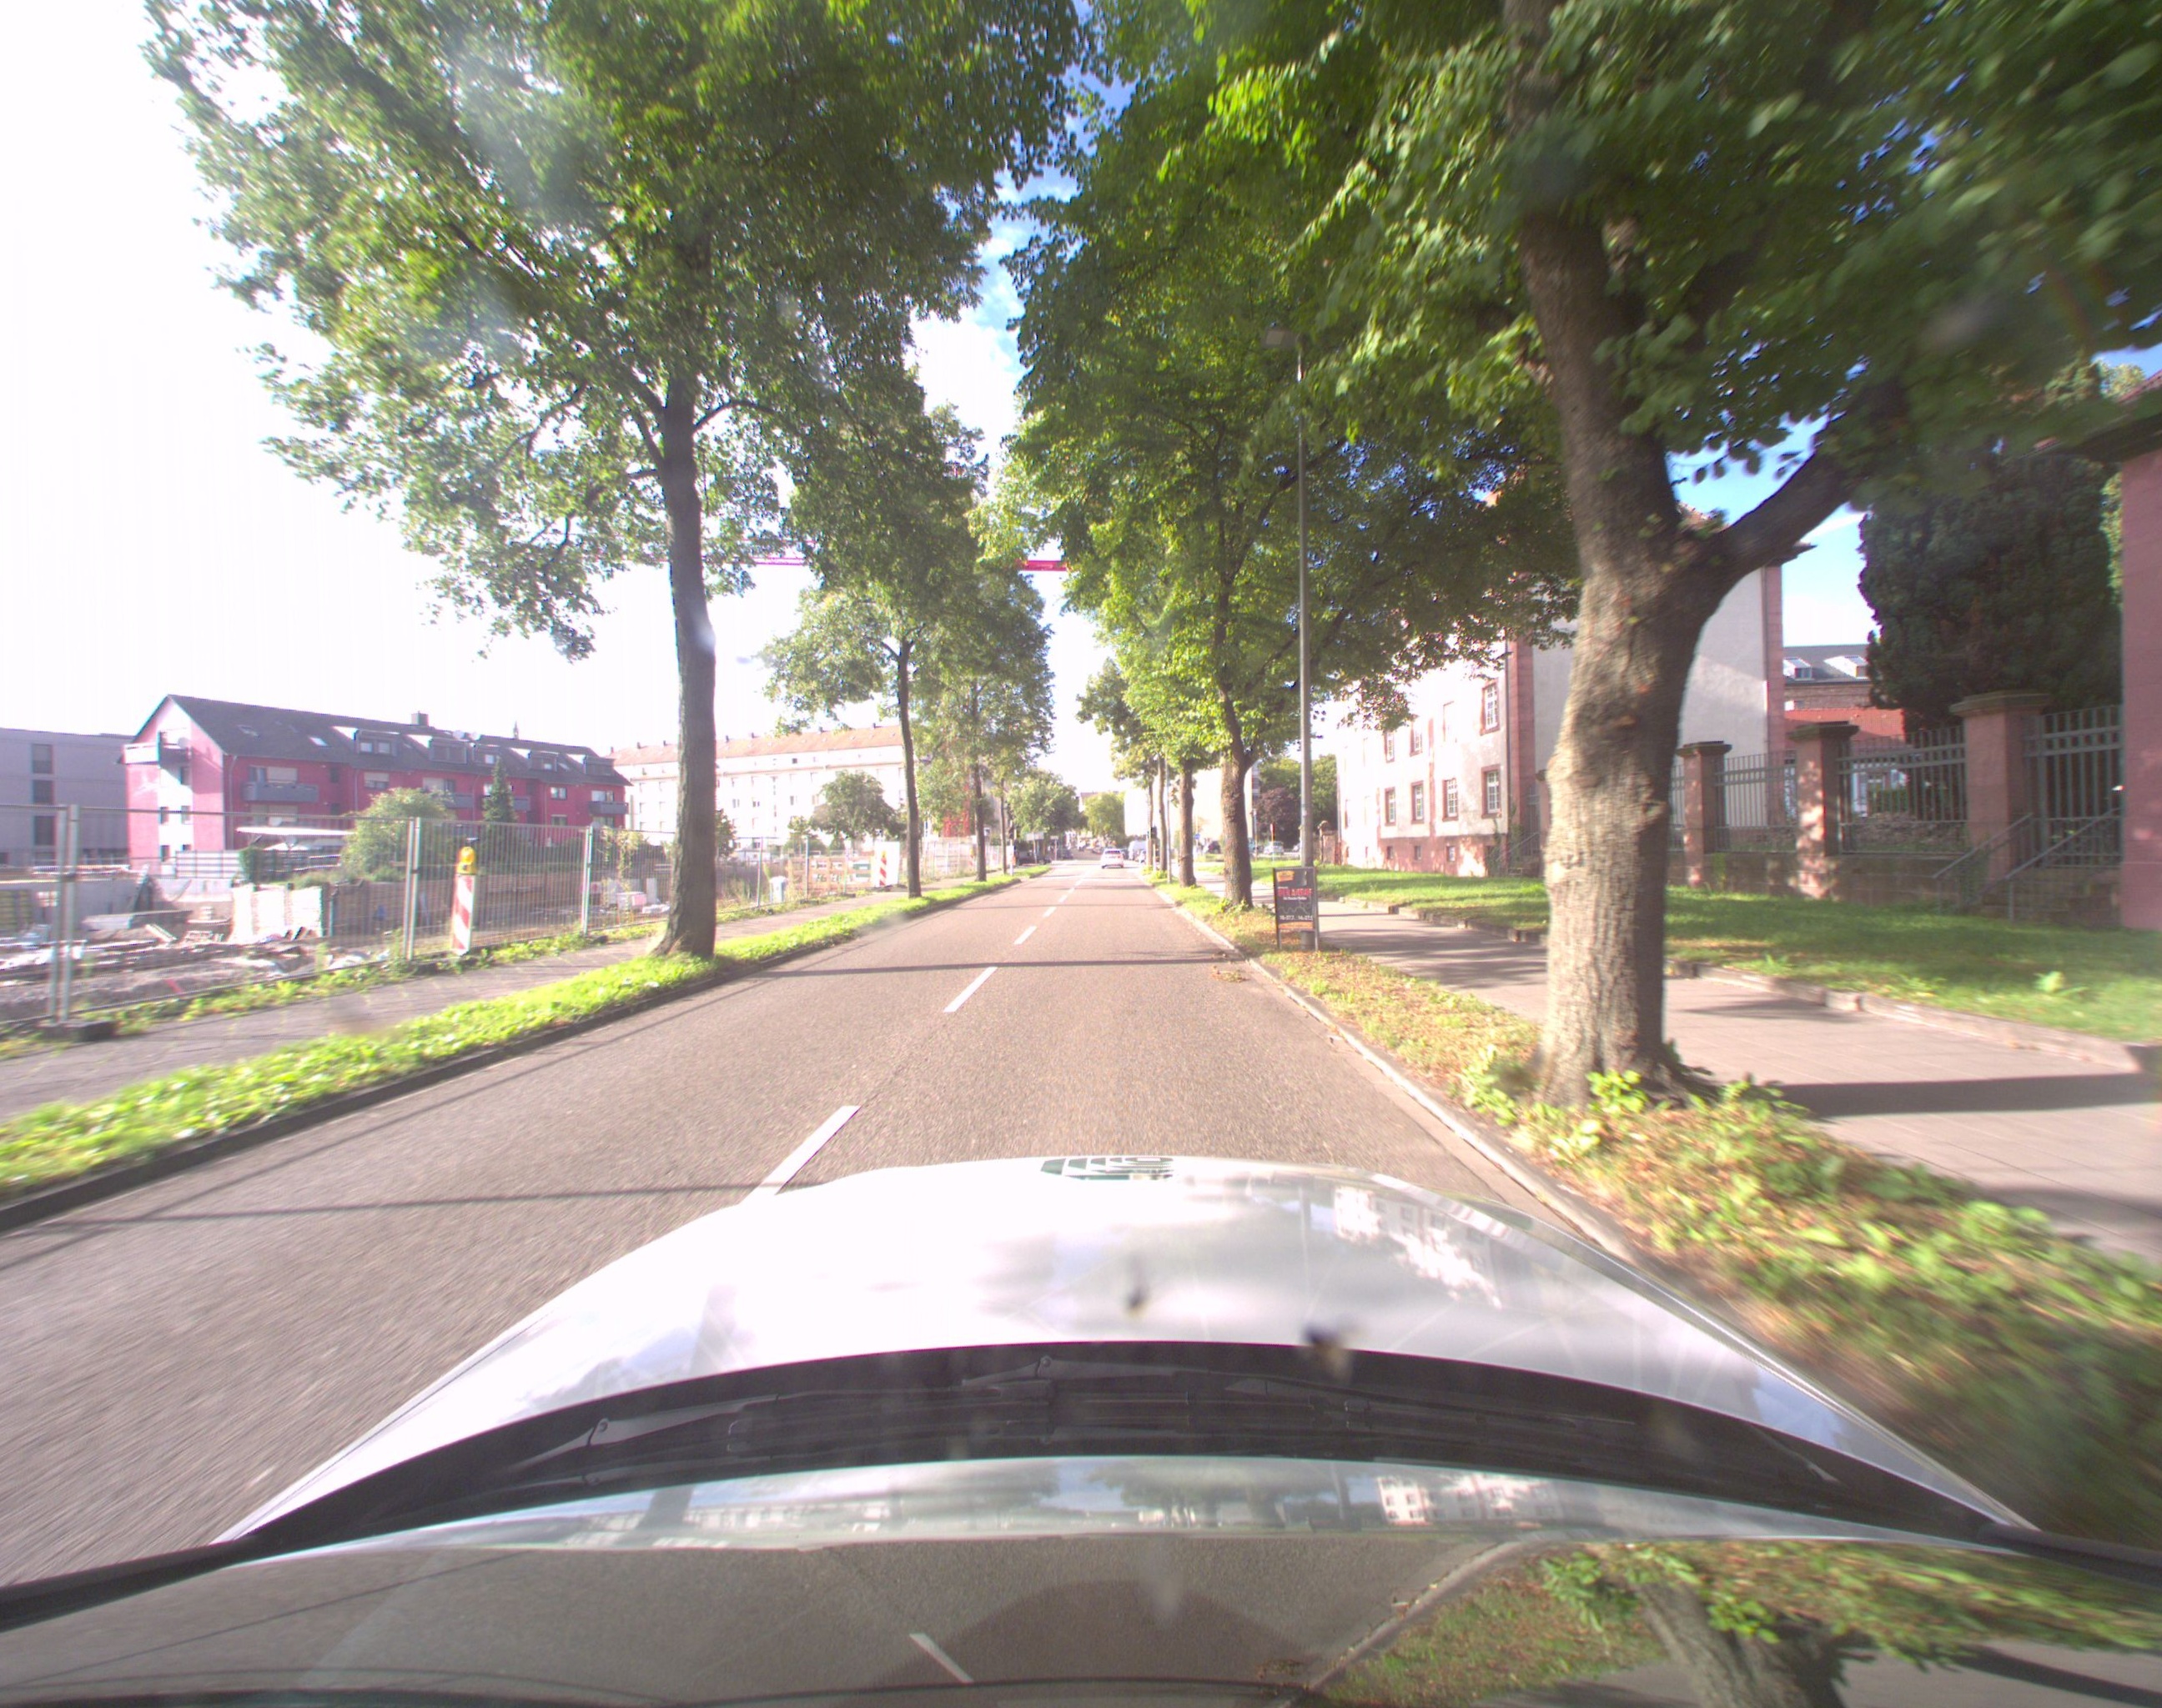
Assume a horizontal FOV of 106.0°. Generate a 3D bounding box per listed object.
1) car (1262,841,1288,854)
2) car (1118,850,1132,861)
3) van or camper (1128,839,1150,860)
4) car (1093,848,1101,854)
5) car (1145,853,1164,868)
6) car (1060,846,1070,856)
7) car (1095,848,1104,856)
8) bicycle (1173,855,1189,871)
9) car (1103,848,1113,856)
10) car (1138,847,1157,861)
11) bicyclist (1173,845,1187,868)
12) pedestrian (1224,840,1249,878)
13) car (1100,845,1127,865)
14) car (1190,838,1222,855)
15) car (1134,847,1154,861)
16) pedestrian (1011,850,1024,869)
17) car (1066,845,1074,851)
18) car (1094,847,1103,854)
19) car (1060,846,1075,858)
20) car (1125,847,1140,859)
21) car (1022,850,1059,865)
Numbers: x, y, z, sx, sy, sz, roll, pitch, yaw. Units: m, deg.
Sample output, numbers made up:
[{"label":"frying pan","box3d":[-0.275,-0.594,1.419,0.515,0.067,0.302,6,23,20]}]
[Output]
[{"label":"car","box3d":[22.193,-0.739,93.425,1.988,1.442,3.998,-2,1,-1]},{"label":"car","box3d":[6.810,0.266,126.251,1.986,1.574,4.001,-2,0,1]},{"label":"van or camper","box3d":[7.414,-0.553,104.738,2.204,2.607,5.367,-2,0,-2]},{"label":"car","box3d":[4.309,-0.757,213.025,1.986,1.755,4.002,0,0,2]},{"label":"car","box3d":[7.417,0.641,82.150,1.710,1.496,4.271,-2,0,3]},{"label":"car","box3d":[-3.260,-0.666,167.947,1.986,2.013,4.001,-2,0,1]},{"label":"car","box3d":[4.051,-0.413,180.878,1.986,1.755,4.002,0,0,2]},{"label":"bicycle","box3d":[6.670,0.596,54.408,0.737,1.035,2.763,-3,0,1]},{"label":"car","box3d":[5.403,-0.406,163.228,1.986,1.574,4.001,-2,0,1]},{"label":"car","box3d":[7.579,0.050,93.340,2.007,1.475,4.806,-2,0,3]},{"label":"bicyclist","box3d":[6.638,0.172,54.643,0.734,1.513,0.875,-3,0,1]},{"label":"pedestrian","box3d":[6.753,0.218,35.470,0.811,1.590,0.769,-6,0,1]},{"label":"car","box3d":[2.661,0.070,67.063,1.988,1.555,4.271,0,0,-1]},{"label":"car","box3d":[16.692,-0.979,108.864,4.100,2.186,2.003,-2,0,5]},{"label":"car","box3d":[7.602,0.002,98.697,1.988,1.615,4.406,-2,1,-1]},{"label":"pedestrian","box3d":[-5.651,0.493,72.502,1.007,1.728,1.174,-1,-1,-10]},{"label":"car","box3d":[-3.488,-1.954,258.782,2.052,1.663,3.920,-2,1,-5]},{"label":"car","box3d":[4.062,-0.800,192.543,1.986,1.755,4.002,0,0,2]},{"label":"car","box3d":[-2.047,-0.322,121.299,1.990,1.640,3.994,-2,0,-5]},{"label":"car","box3d":[7.284,-0.133,115.678,1.986,1.574,4.001,-2,0,1]},{"label":"car","box3d":[-4.342,0.376,87.037,2.009,1.570,3.955,-1,0,-37]}]
